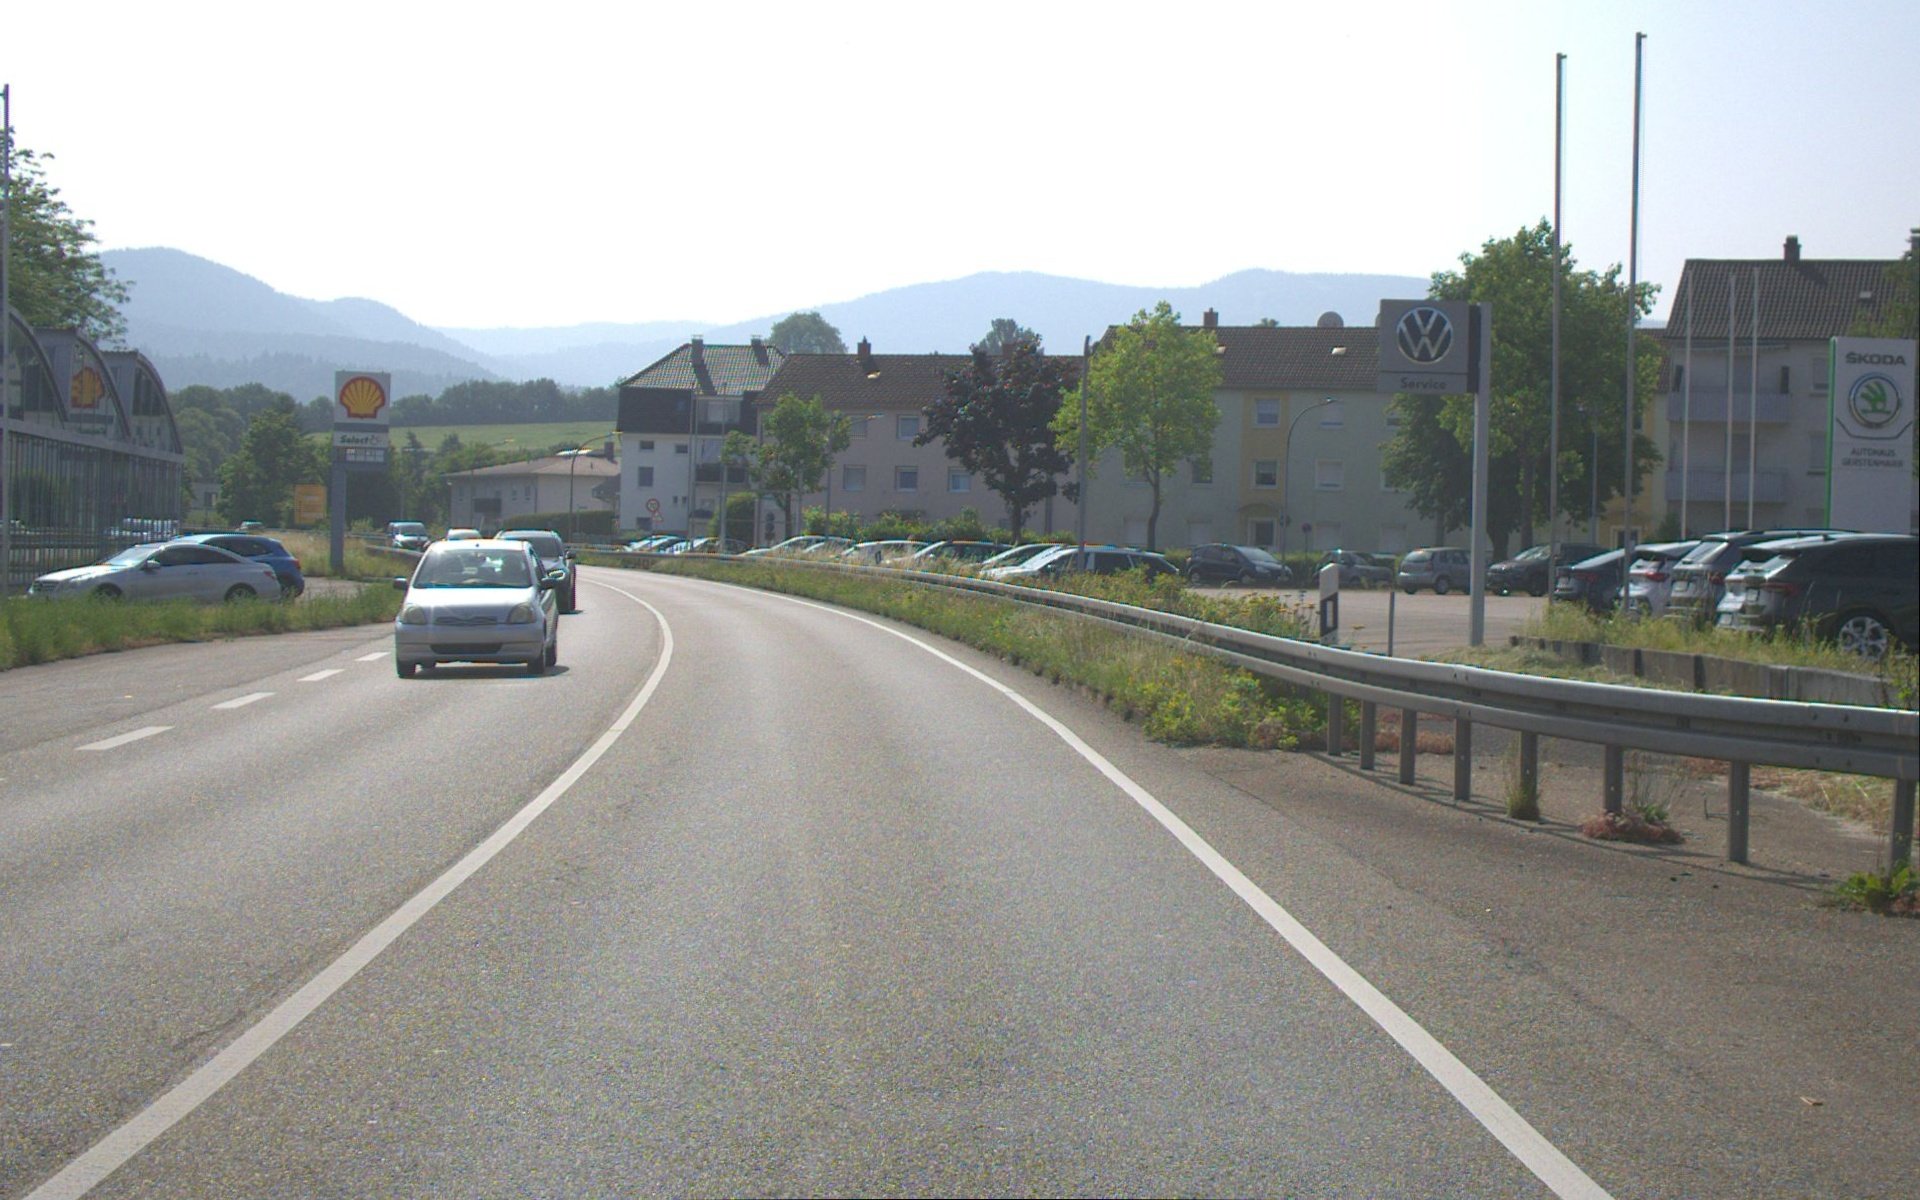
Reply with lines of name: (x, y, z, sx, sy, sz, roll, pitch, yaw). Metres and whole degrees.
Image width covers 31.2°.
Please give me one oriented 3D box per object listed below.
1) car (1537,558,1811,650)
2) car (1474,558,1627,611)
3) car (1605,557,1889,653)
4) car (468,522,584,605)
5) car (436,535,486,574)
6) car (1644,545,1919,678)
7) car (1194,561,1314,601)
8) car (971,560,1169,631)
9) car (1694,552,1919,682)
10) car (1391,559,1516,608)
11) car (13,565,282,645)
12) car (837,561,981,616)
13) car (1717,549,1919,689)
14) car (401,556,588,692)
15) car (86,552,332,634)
car: (12.035, 0.055, 58.073, 4.155, 1.511, 1.825, 0, 0, -8)
car: (18.068, -0.460, 105.136, 4.482, 1.595, 1.841, 0, 0, -32)
car: (12.651, 0.076, 55.372, 4.092, 1.511, 1.825, 0, 0, -4)
car: (-8.817, -0.754, 70.151, 1.811, 1.624, 4.541, -1, 1, -1)
car: (-21.136, -1.917, 145.508, 1.791, 1.624, 4.228, -1, 1, -12)
car: (10.795, 0.140, 42.908, 4.075, 1.604, 1.793, 0, 0, -6)
car: (10.503, -0.689, 123.063, 1.908, 1.400, 4.525, 0, 0, -32)
car: (2.420, -0.115, 76.227, 4.158, 1.485, 1.732, -1, 0, -6)
car: (10.850, 0.199, 40.465, 3.986, 1.489, 1.791, 0, 0, -3)
car: (15.510, -0.508, 108.027, 3.754, 1.516, 1.657, 0, 1, -34)
car: (-14.602, 0.070, 61.932, 1.852, 1.363, 4.383, 1, 1, 45)
car: (-1.530, -0.346, 101.856, 3.986, 1.574, 1.779, 0, 0, -12)
car: (10.498, 0.211, 37.703, 3.987, 1.489, 1.730, 0, 0, -1)
car: (-5.305, 0.241, 39.583, 1.677, 1.468, 3.707, -1, 1, -1)
car: (-14.449, -0.153, 66.265, 1.984, 1.501, 4.221, 1, 1, 45)
